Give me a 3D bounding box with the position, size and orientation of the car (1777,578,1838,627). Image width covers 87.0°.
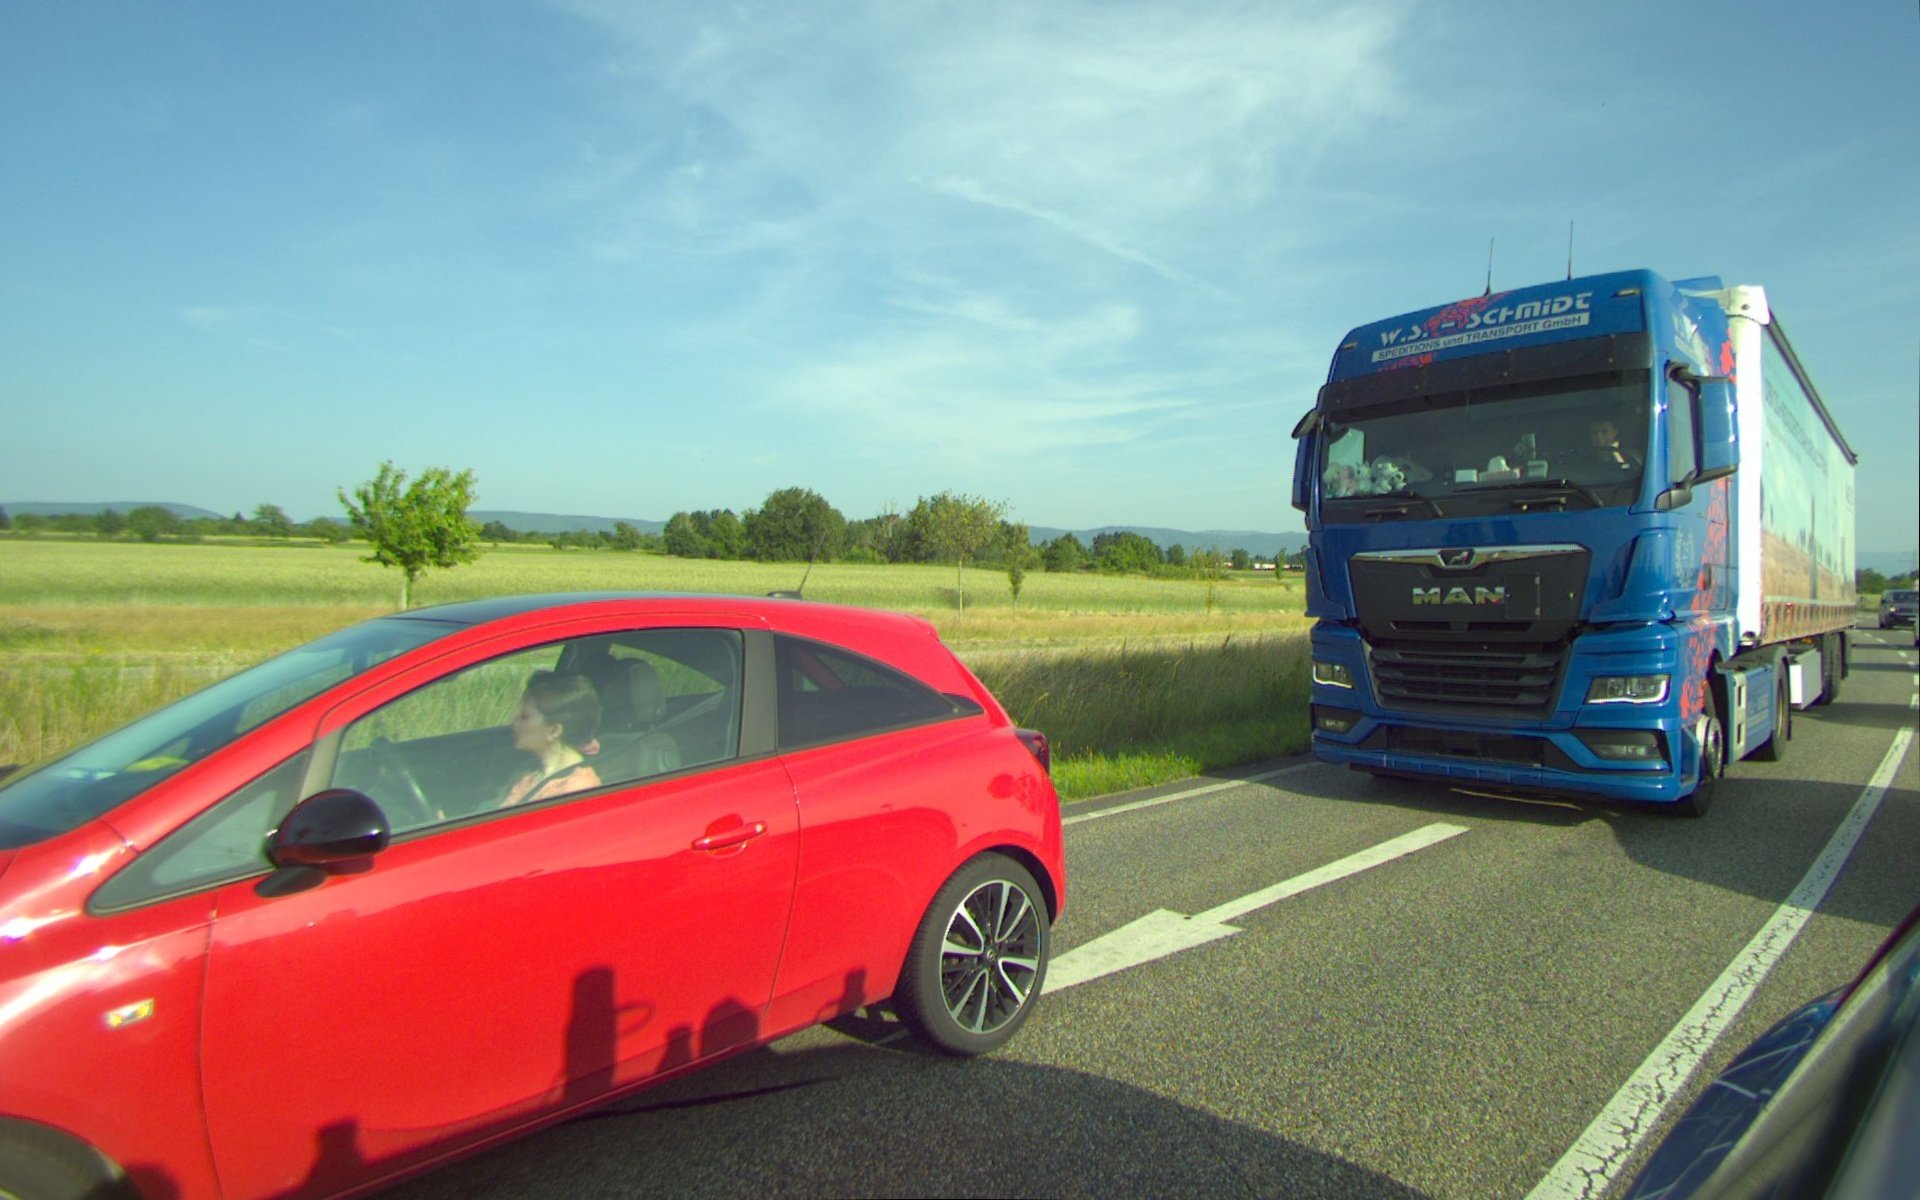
[{"bbox_3d":[37.893,0.076,45.269,1.991,2.039,3.942,1,1,40],"label":"car"}]

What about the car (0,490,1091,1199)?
[{"bbox_3d":[-1.456,0.582,2.846,3.689,1.568,1.698,0,2,-44],"label":"car"}]

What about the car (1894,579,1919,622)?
[{"bbox_3d":[44.907,0.023,47.340,1.551,1.944,3.977,2,1,40],"label":"car"}]

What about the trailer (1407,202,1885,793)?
[{"bbox_3d":[10.273,-0.950,13.938,3.282,4.739,12.939,0,1,44],"label":"trailer"}]

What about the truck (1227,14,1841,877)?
[{"bbox_3d":[5.208,-0.891,8.732,3.301,4.716,5.640,0,1,44],"label":"truck"}]
